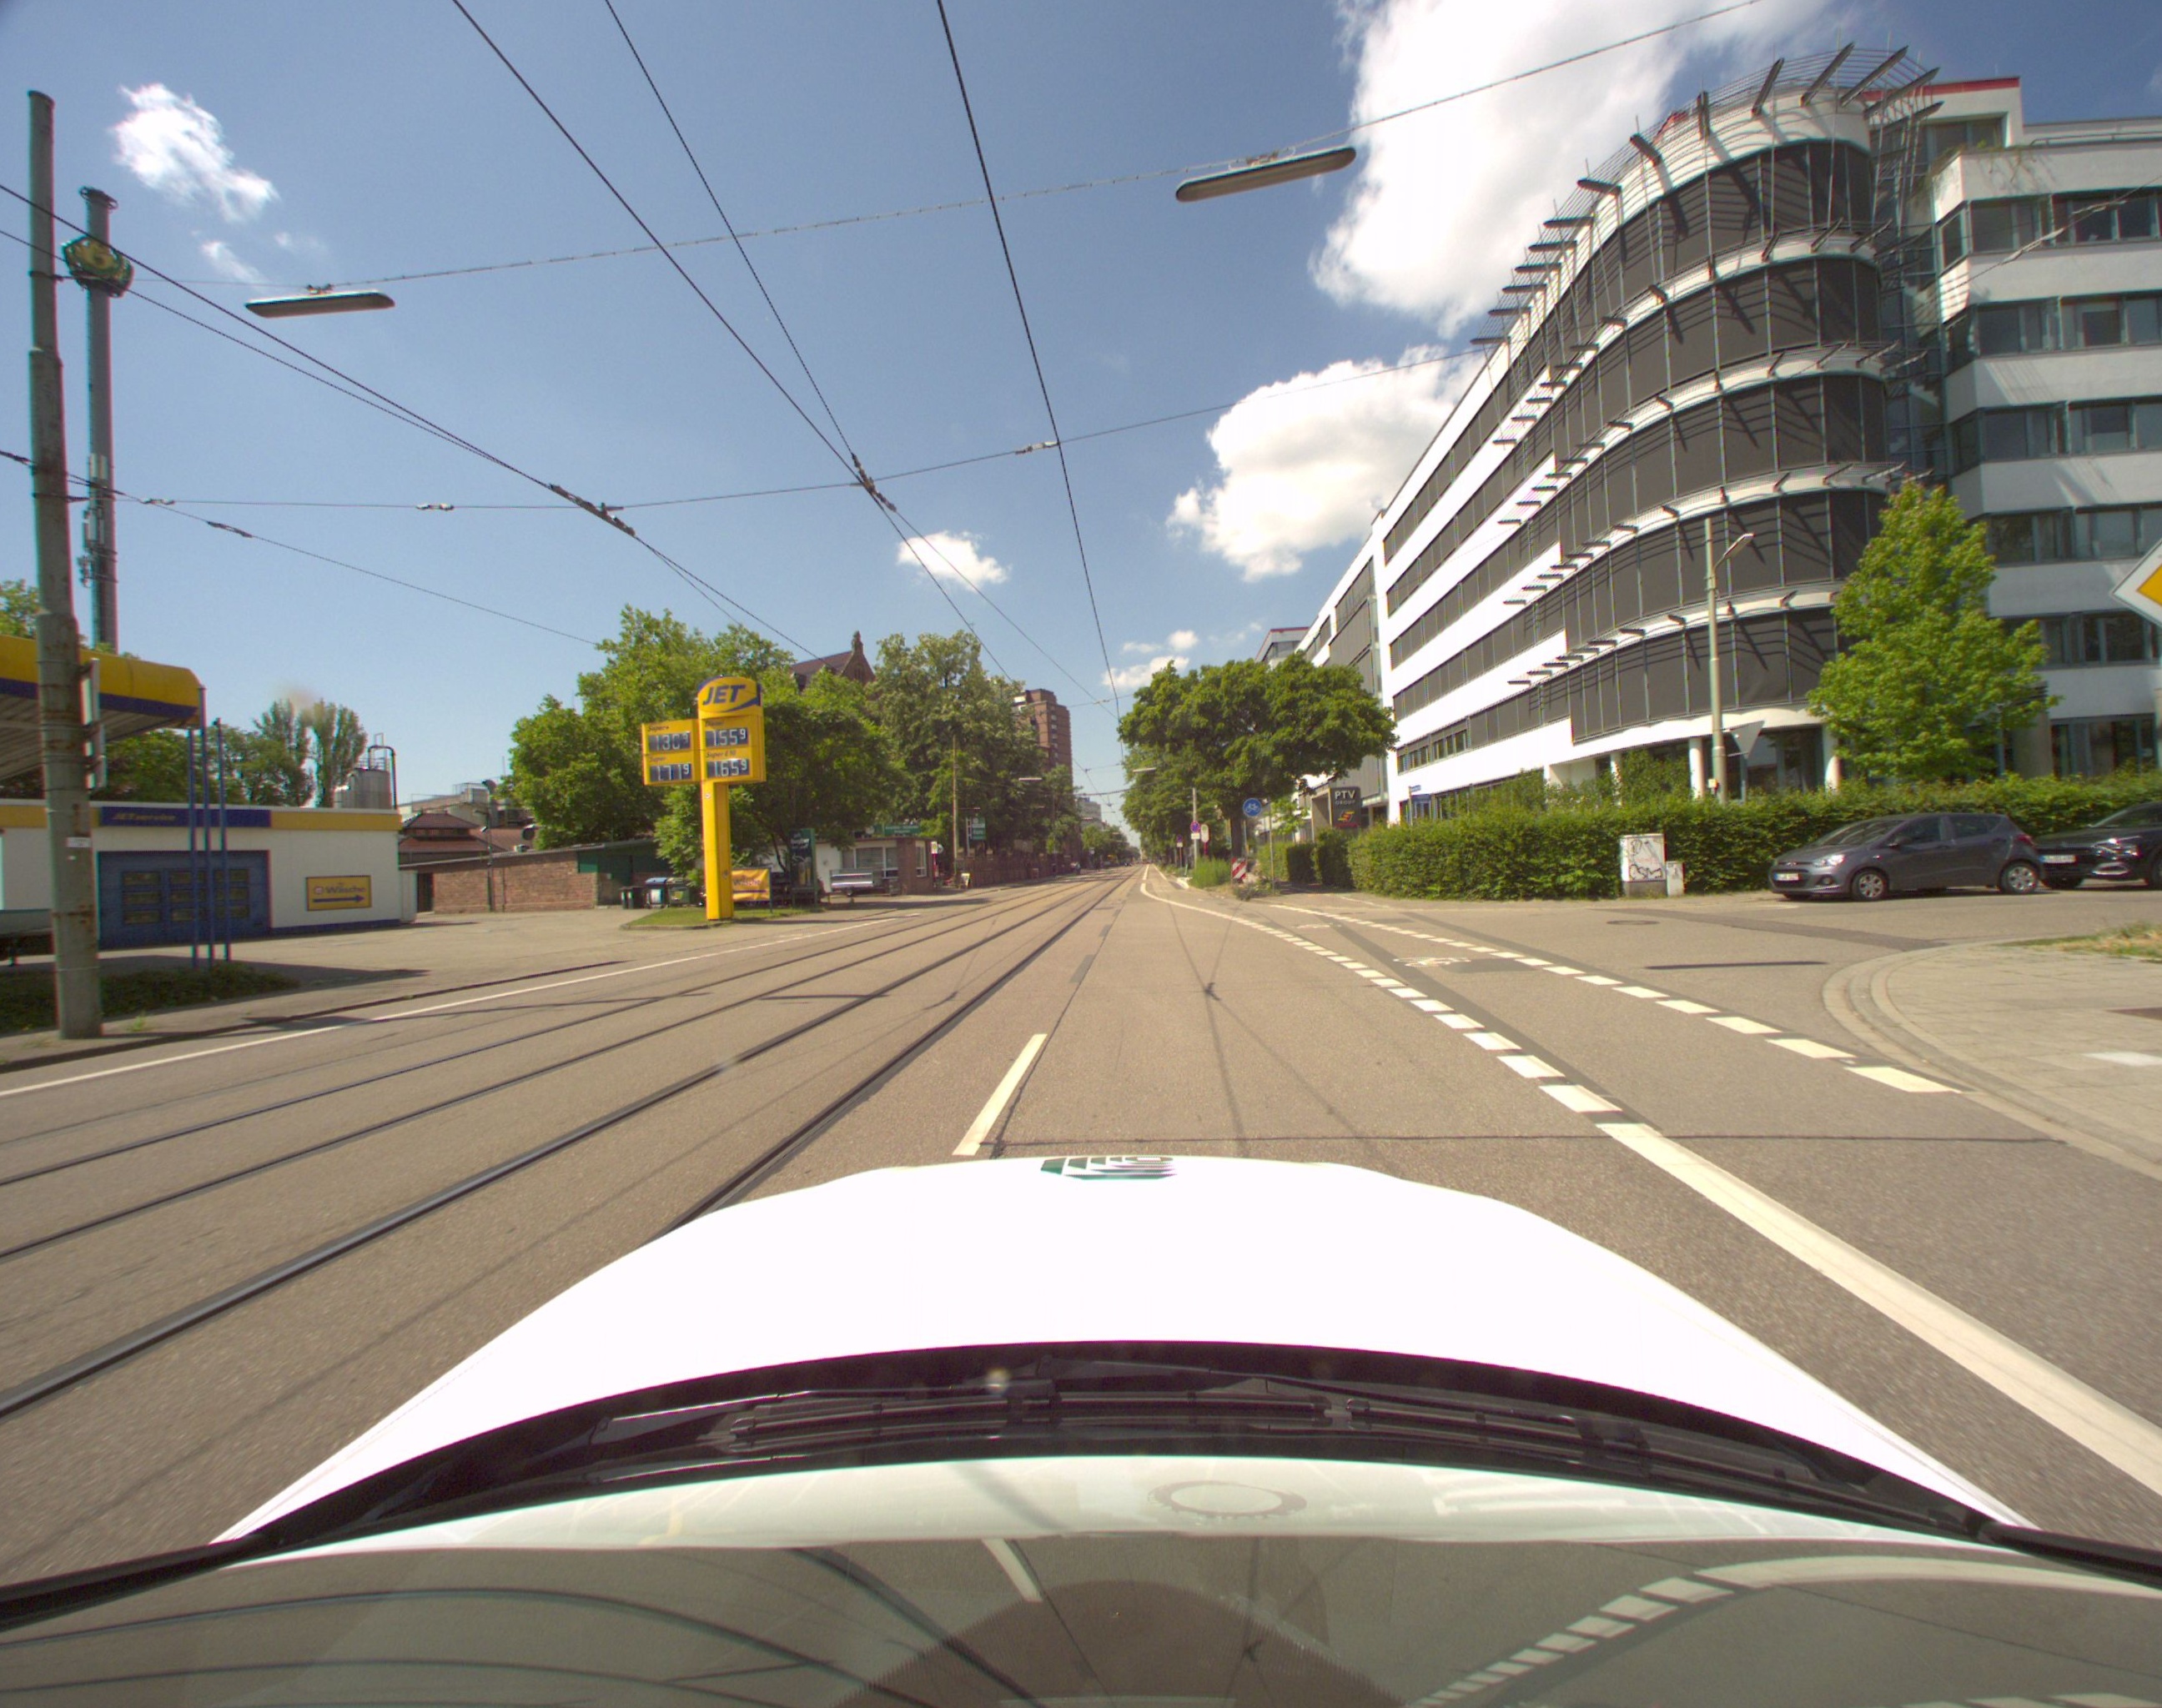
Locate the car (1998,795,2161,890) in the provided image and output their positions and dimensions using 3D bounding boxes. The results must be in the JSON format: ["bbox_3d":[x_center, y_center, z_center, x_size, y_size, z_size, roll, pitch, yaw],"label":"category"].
[{"bbox_3d":[18.994,-0.256,14.124,3.968,1.524,1.761,-3,-1,4],"label":"car"}]

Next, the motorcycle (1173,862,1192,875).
[{"bbox_3d":[9.948,1.430,79.791,1.815,1.110,0.599,-3,-1,4],"label":"motorcycle"}]

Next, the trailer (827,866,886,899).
[{"bbox_3d":[-12.804,1.625,46.544,2.816,1.704,1.623,-3,-1,5],"label":"trailer"}]

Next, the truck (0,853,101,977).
[{"bbox_3d":[-23.318,1.289,15.866,1.974,2.498,5.237,-3,-1,35],"label":"truck"}]

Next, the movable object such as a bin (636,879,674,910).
[{"bbox_3d":[-19.398,1.838,37.083,1.334,1.354,0.761,-3,-1,16],"label":"movable object such as a bin"}]

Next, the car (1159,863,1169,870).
[{"bbox_3d":[17.497,2.643,171.246,1.984,1.310,4.005,-3,-1,5],"label":"car"}]

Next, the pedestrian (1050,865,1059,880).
[{"bbox_3d":[-3.133,2.184,95.974,0.811,1.770,0.925,-3,-1,4],"label":"pedestrian"}]

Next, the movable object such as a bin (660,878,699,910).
[{"bbox_3d":[-17.939,1.775,36.396,1.339,1.354,0.759,-3,-1,2],"label":"movable object such as a bin"}]

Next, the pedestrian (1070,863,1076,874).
[{"bbox_3d":[-1.290,2.401,131.127,0.739,1.728,0.868,-3,-1,4],"label":"pedestrian"}]

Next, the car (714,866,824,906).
[{"bbox_3d":[-14.602,1.469,38.246,4.357,1.590,1.976,-2,-1,-41],"label":"car"}]

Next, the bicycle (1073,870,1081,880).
[{"bbox_3d":[-0.489,2.625,104.057,0.698,1.204,2.243,-5,-1,4],"label":"bicycle"}]

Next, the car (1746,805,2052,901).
[{"bbox_3d":[14.555,-0.003,14.678,3.584,1.451,1.761,-3,-1,4],"label":"car"}]

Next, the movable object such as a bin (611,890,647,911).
[{"bbox_3d":[-21.133,2.170,38.083,1.332,0.873,0.762,-3,-1,24],"label":"movable object such as a bin"}]

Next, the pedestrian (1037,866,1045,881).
[{"bbox_3d":[-4.481,2.186,91.958,0.739,1.728,0.868,-3,-1,4],"label":"pedestrian"}]

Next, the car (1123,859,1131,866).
[{"bbox_3d":[13.655,2.586,240.240,1.983,2.014,4.008,-3,-1,7],"label":"car"}]

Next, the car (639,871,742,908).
[{"bbox_3d":[-19.631,1.778,41.030,4.355,1.592,1.888,-2,-1,-38],"label":"car"}]

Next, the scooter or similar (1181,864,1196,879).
[{"bbox_3d":[8.546,1.380,64.738,1.053,1.156,0.371,-4,-1,5],"label":"scooter or similar"}]

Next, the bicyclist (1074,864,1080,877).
[{"bbox_3d":[-0.473,2.130,104.023,0.639,1.679,0.815,-3,-1,3],"label":"bicyclist"}]

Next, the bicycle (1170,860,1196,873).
[{"bbox_3d":[10.344,1.254,82.702,2.496,1.209,0.649,-3,-1,8],"label":"bicycle"}]

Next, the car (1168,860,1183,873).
[{"bbox_3d":[11.634,1.496,100.429,1.626,1.501,4.005,-3,-1,5],"label":"car"}]
